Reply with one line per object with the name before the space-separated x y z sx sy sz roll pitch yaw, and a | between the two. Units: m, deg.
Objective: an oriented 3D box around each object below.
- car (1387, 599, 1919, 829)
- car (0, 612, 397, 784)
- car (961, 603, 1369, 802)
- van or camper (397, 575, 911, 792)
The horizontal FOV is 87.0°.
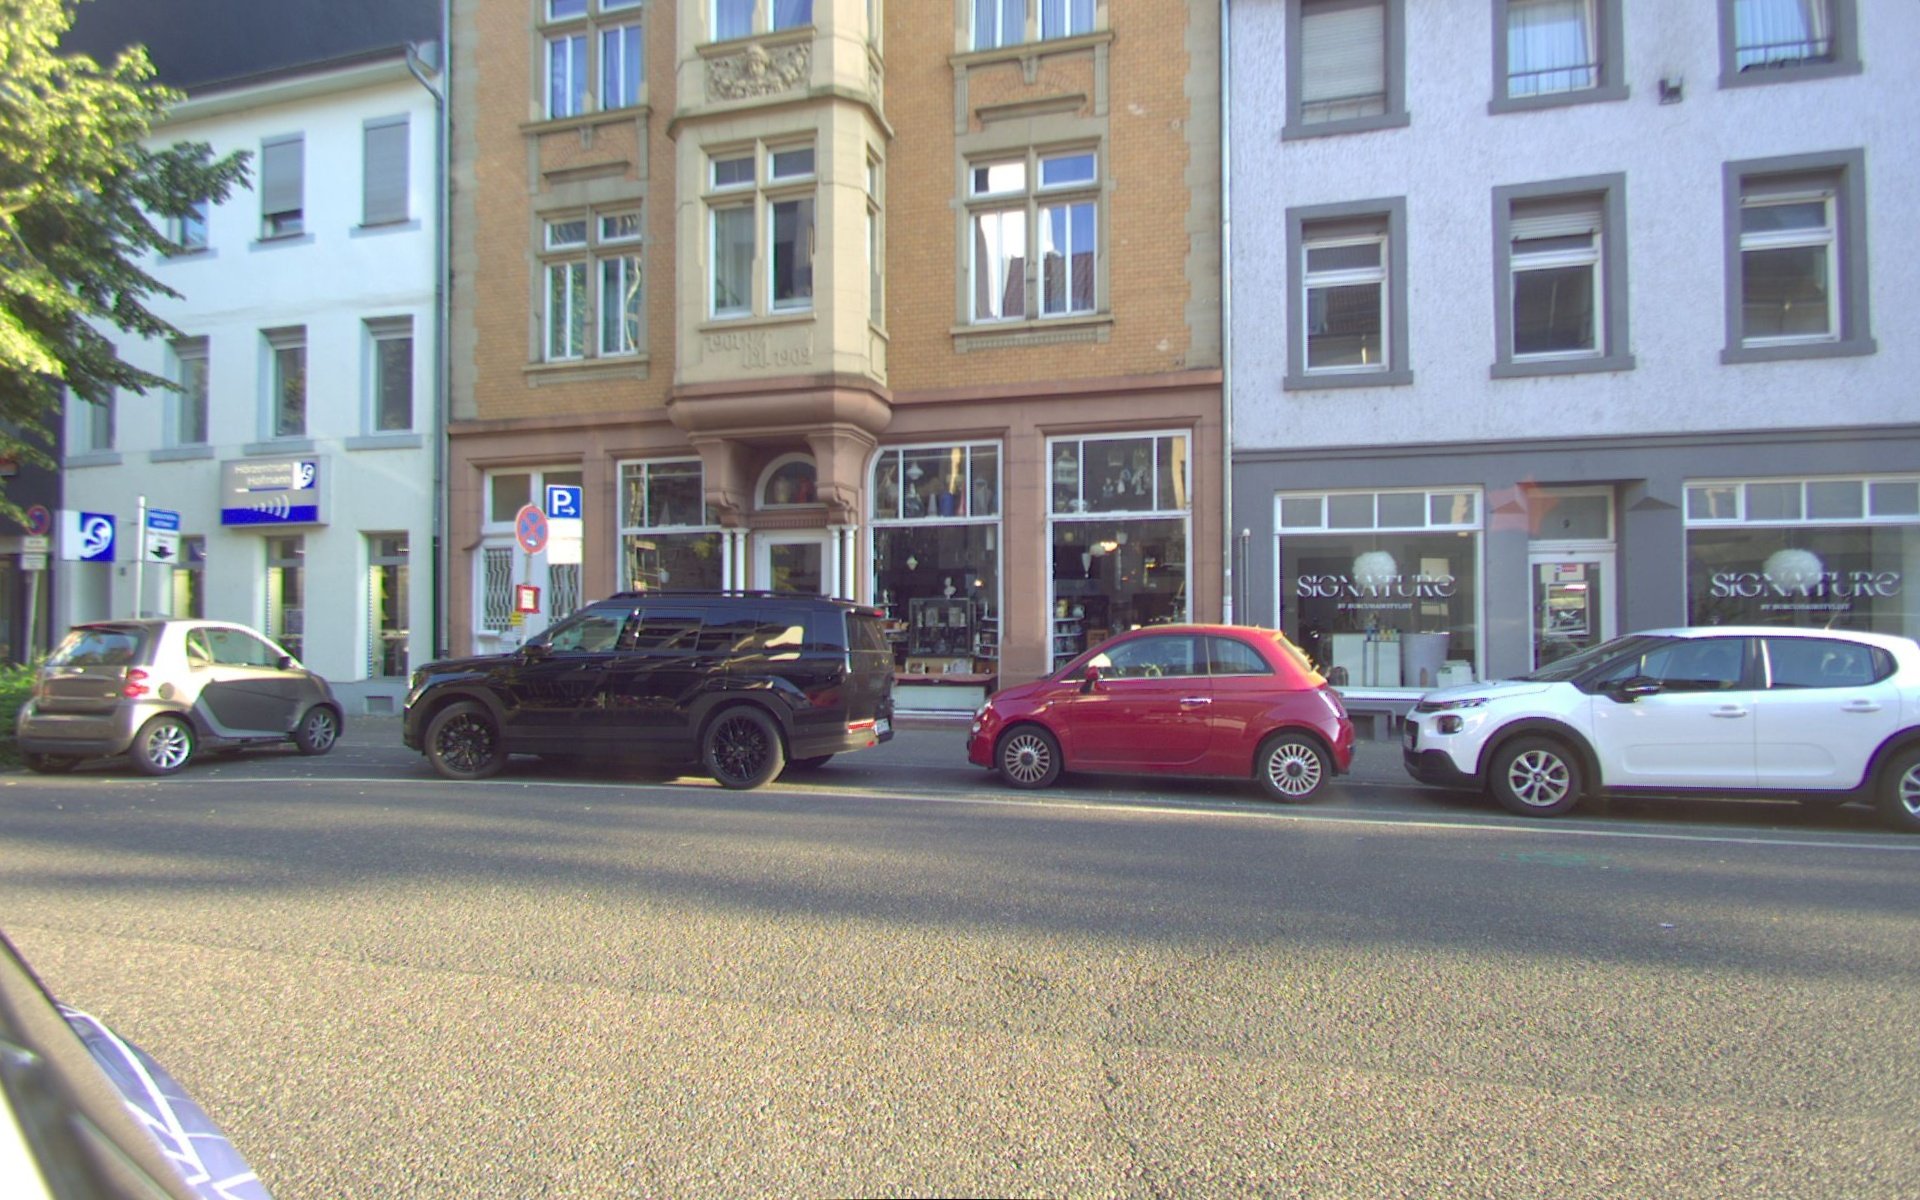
car | 5.675 0.851 8.137 3.899 1.585 1.658 -1 -3 16
car | -8.217 0.973 11.257 1.492 1.588 3.467 -1 -2 12
car | 1.839 0.876 9.323 3.392 1.582 1.522 -1 -3 17
van or camper | -2.821 0.763 9.829 4.411 1.821 1.890 -1 -3 10
